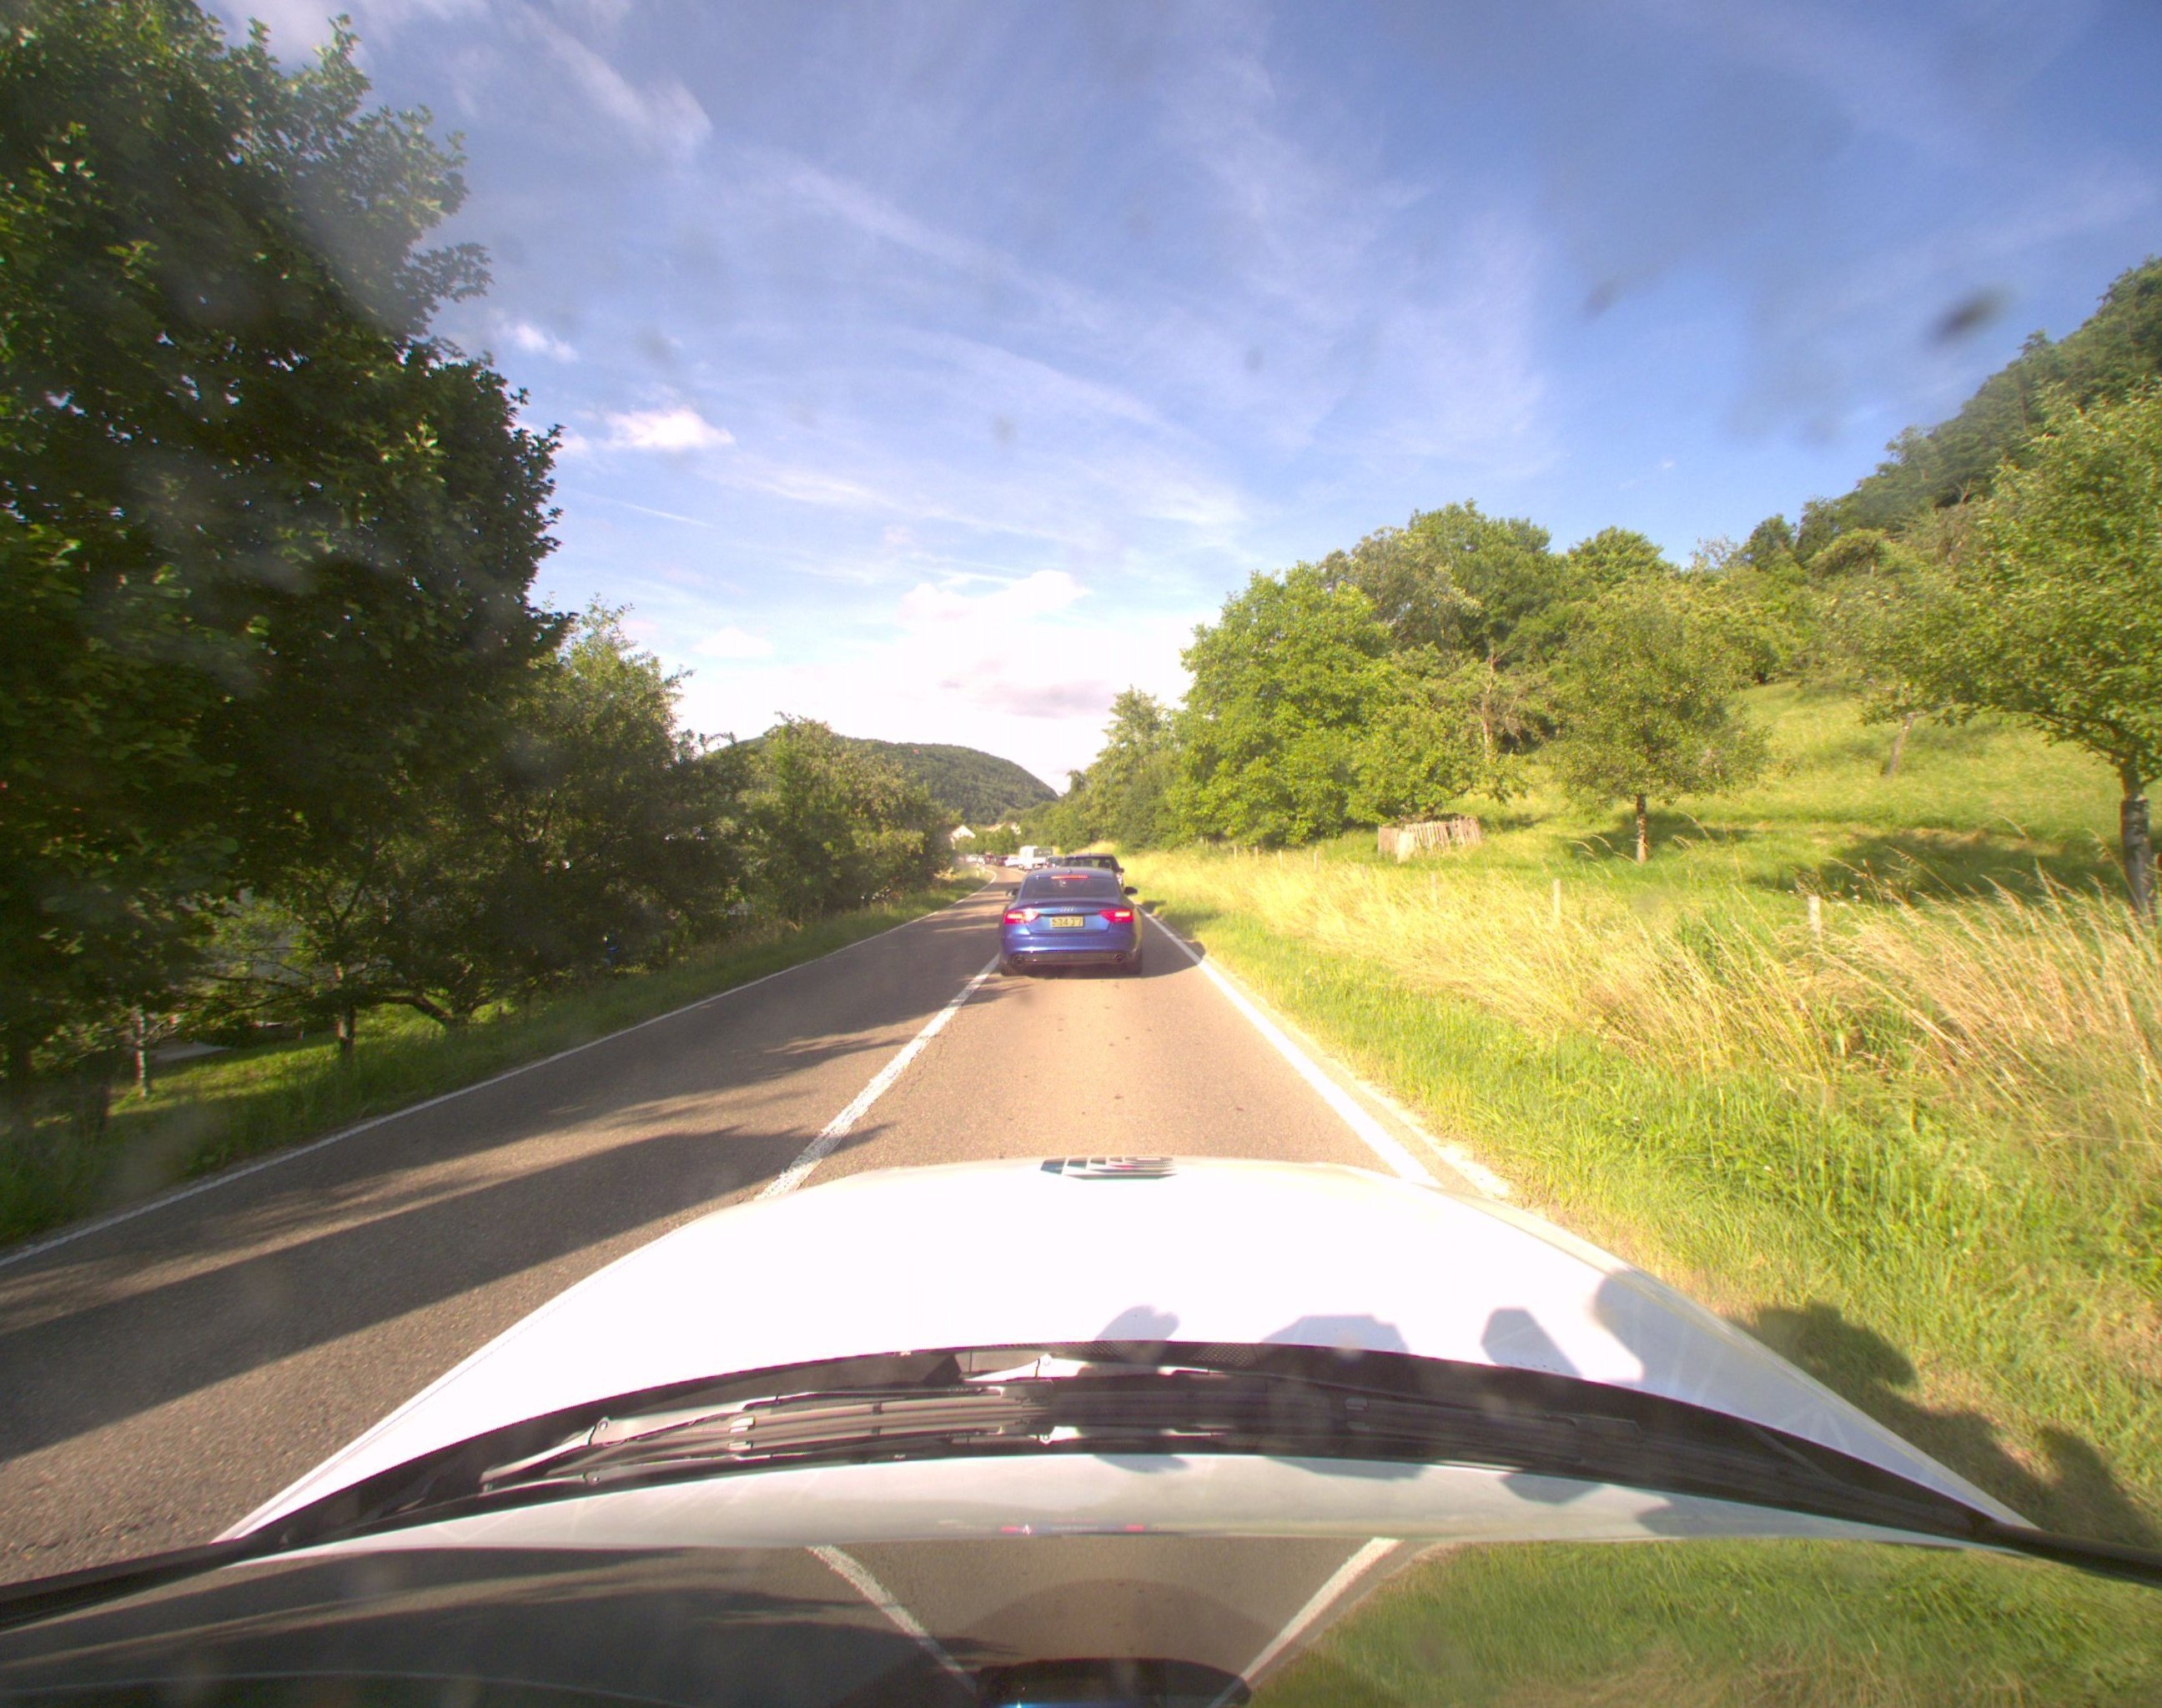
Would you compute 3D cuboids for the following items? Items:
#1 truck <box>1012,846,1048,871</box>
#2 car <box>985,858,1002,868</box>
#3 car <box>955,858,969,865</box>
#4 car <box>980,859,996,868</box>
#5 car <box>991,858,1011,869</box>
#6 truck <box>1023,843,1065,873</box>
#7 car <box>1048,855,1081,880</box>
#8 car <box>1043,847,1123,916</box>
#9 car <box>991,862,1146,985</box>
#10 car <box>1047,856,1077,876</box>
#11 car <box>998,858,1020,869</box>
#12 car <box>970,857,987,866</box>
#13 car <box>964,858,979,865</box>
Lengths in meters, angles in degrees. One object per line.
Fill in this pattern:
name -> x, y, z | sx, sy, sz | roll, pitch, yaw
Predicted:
truck -> -5.873, 0.497, 92.005 | 2.864, 2.665, 10.607 | -1, 0, -10
car -> -13.911, 1.480, 129.528 | 1.997, 1.482, 3.978 | 0, -1, -16
car -> -24.850, 1.599, 169.445 | 2.001, 1.482, 3.971 | 0, -1, -22
car -> -15.499, 1.545, 135.727 | 1.997, 1.482, 3.978 | 0, -1, -16
car -> -11.295, 1.294, 114.686 | 2.000, 1.482, 3.973 | 0, -1, -20
truck -> -3.728, 0.382, 79.609 | 2.864, 2.665, 10.356 | -1, 0, -10
car -> -1.023, 0.851, 52.256 | 1.987, 1.482, 4.000 | -1, -1, 1
car -> 0.086, 0.715, 22.302 | 1.987, 1.702, 4.000 | -1, -1, 1
car -> -0.084, 0.832, 11.510 | 1.787, 1.360, 4.001 | -1, 0, 2
car -> -1.481, 0.902, 62.217 | 1.991, 1.482, 3.991 | -1, -1, -6
car -> -9.521, 1.233, 107.306 | 2.000, 1.482, 3.973 | 0, -1, -20
car -> -18.268, 1.329, 144.779 | 2.001, 1.482, 3.971 | 0, -1, -22
car -> -20.964, 1.448, 156.362 | 2.001, 1.482, 3.971 | 0, -1, -22
